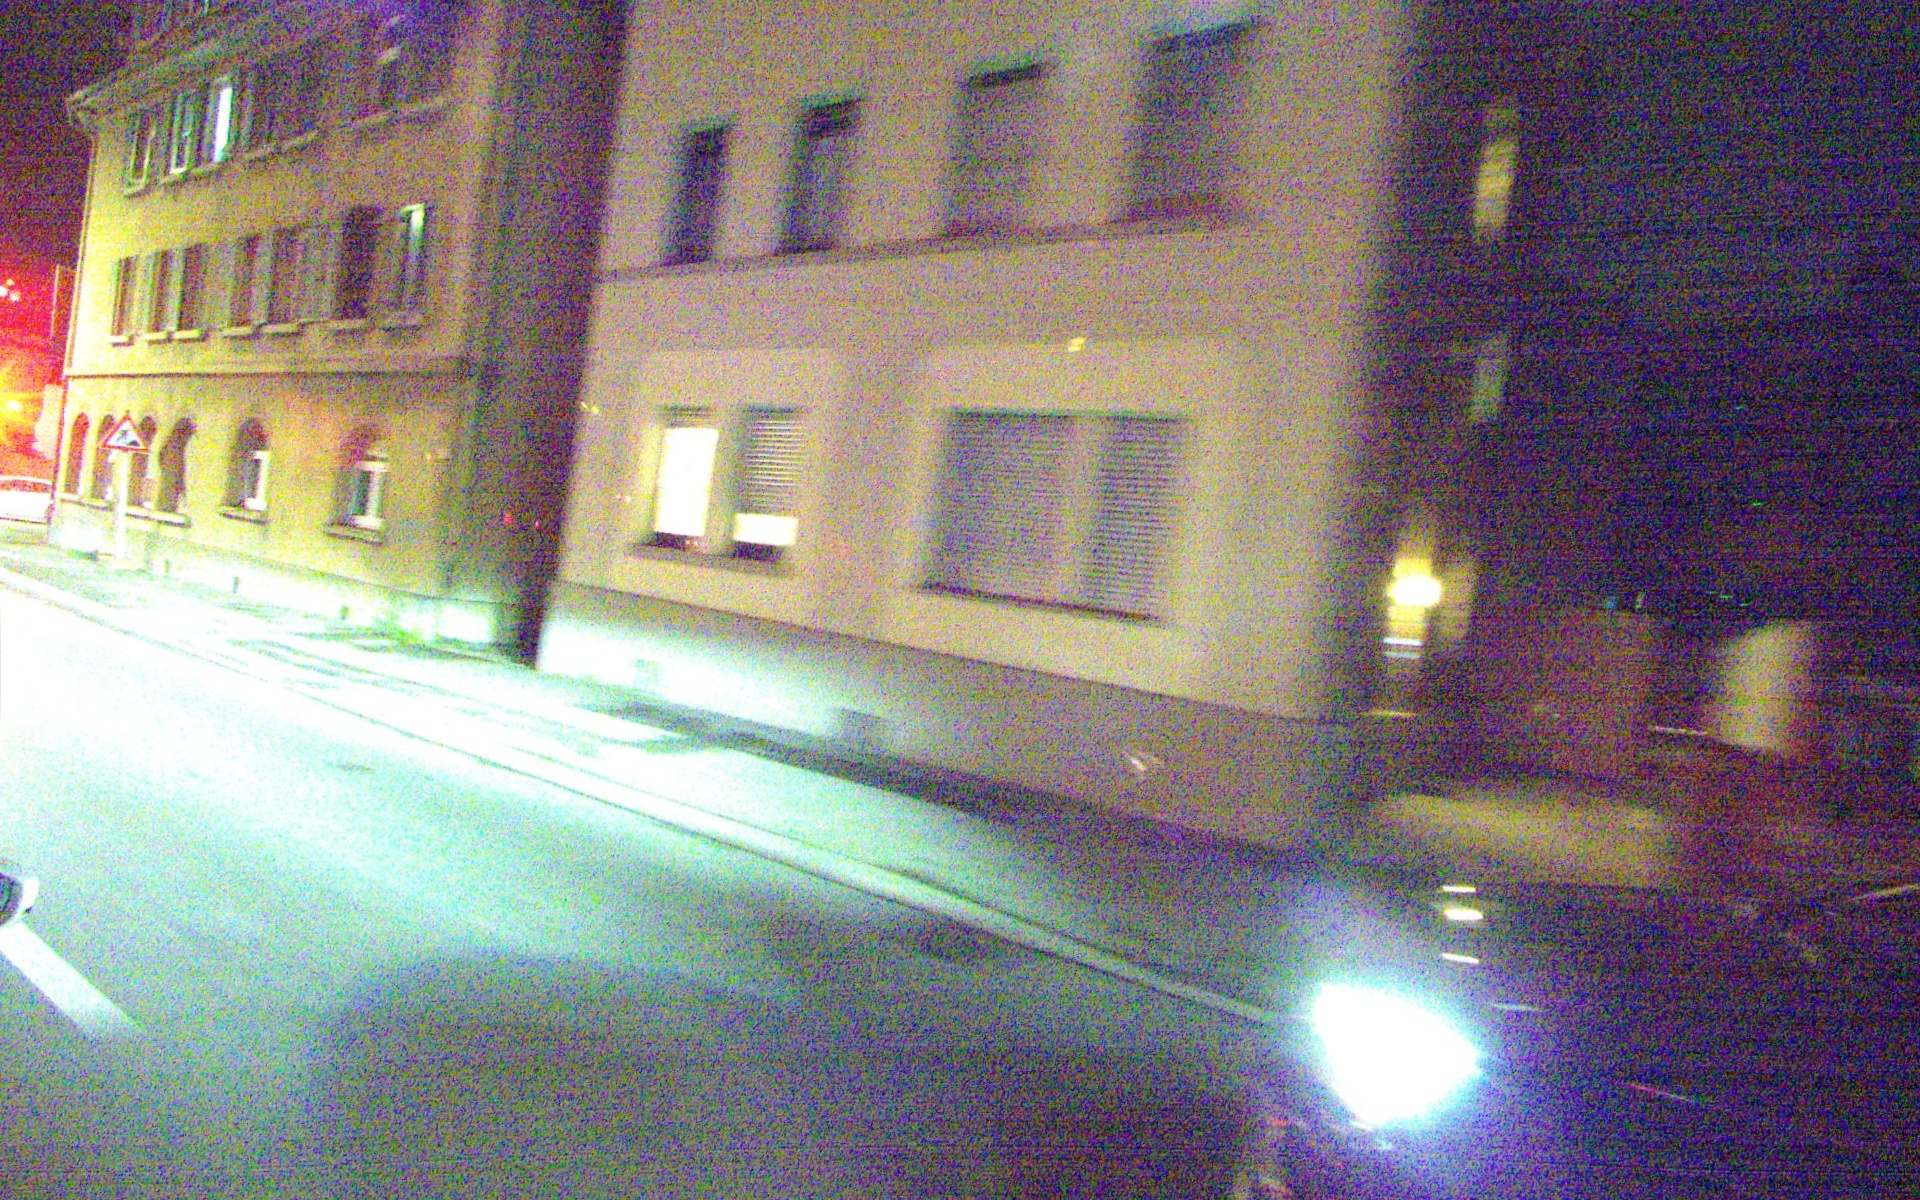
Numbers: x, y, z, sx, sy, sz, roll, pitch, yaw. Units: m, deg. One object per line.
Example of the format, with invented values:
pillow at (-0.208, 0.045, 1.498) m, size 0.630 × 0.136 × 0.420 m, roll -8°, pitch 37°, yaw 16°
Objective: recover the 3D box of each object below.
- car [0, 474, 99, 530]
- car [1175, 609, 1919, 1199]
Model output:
car at (-32.006, -3.437, 34.058) m, size 3.957 × 1.509 × 1.696 m, roll 8°, pitch -1°, yaw -30°
car at (2.635, 1.104, 1.586) m, size 4.158 × 1.629 × 1.673 m, roll 7°, pitch -1°, yaw 30°
